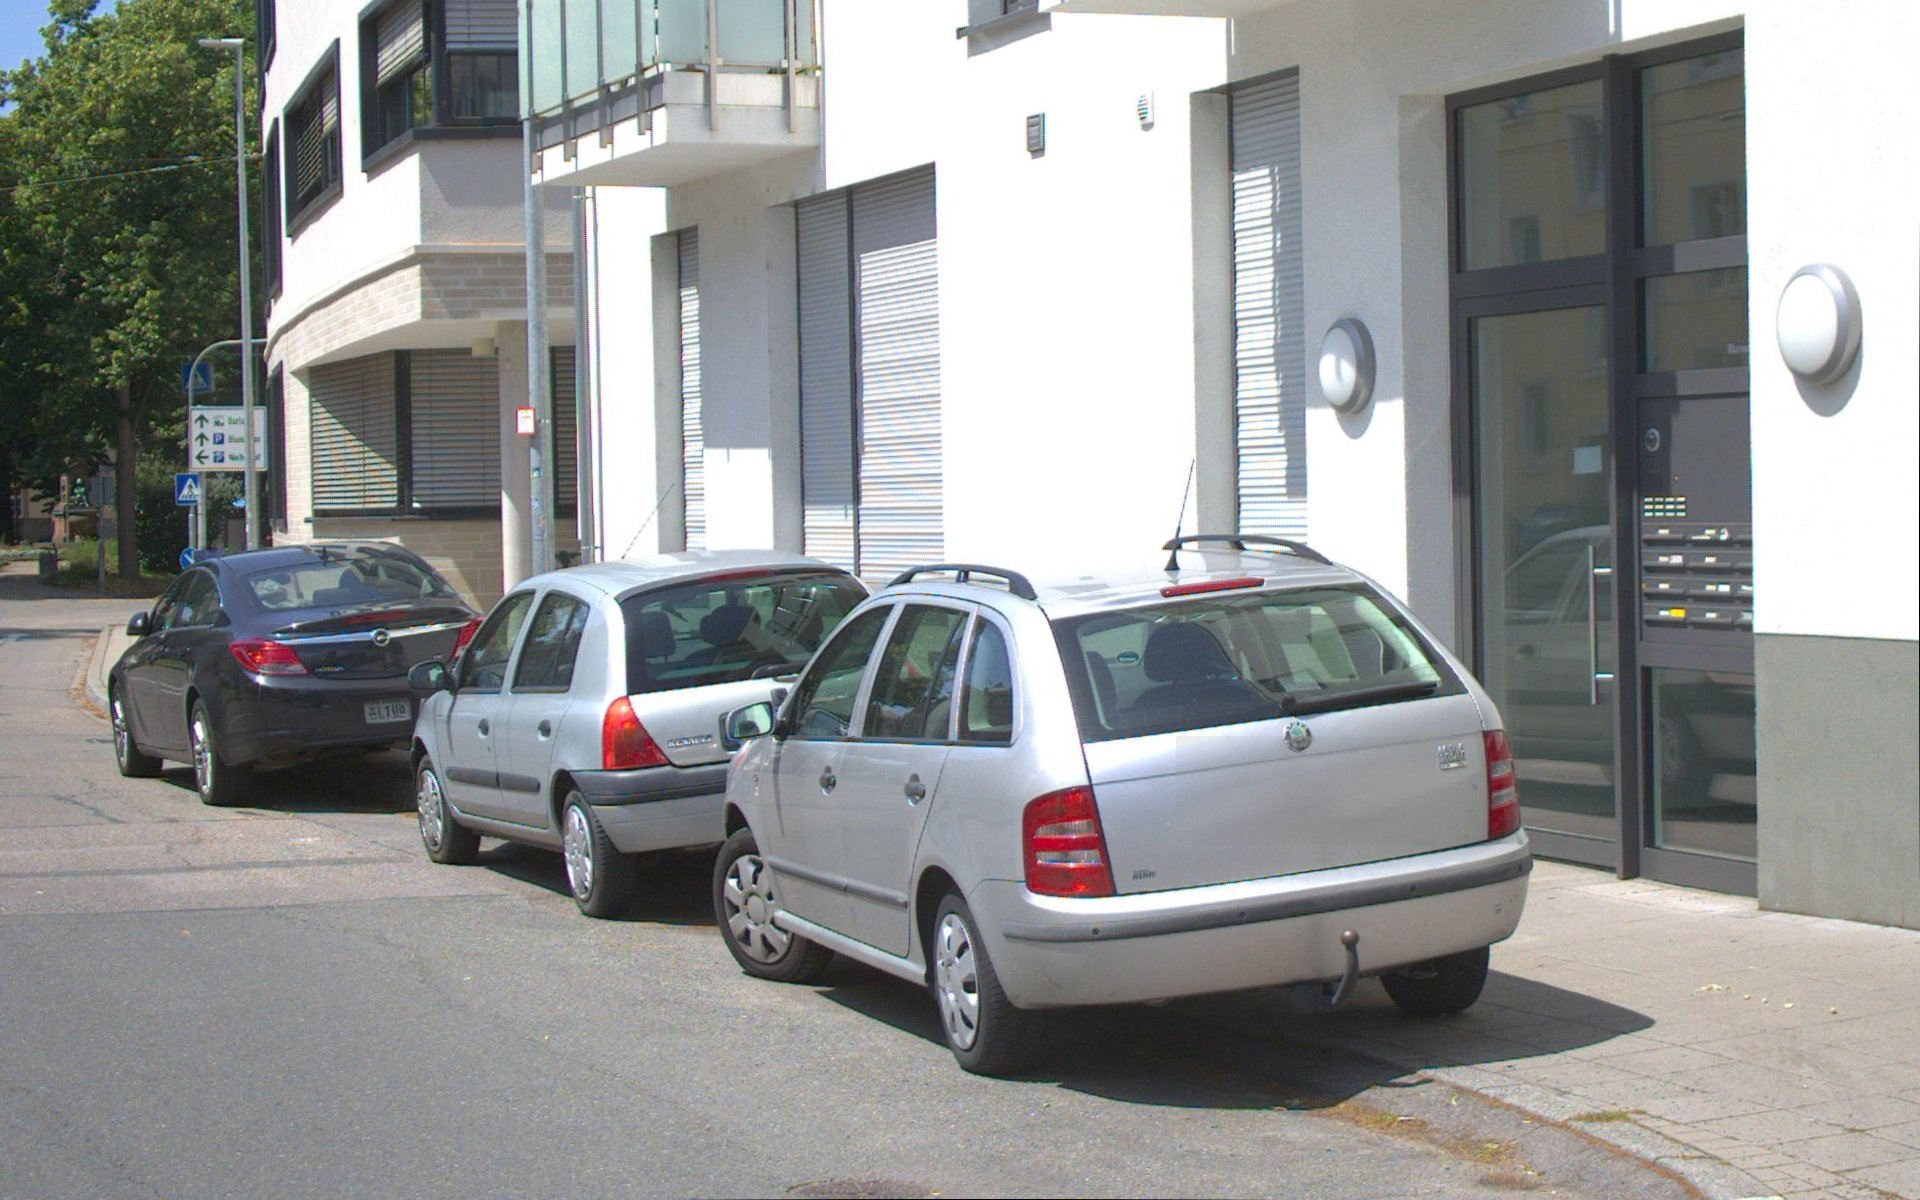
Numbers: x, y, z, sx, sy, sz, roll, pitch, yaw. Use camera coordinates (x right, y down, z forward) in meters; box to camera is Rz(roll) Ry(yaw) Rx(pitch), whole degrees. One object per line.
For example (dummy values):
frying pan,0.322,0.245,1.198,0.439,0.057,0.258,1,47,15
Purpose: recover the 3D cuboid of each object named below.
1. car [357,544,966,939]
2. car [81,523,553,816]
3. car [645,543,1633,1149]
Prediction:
car,-1.471,0.533,15.534,1.592,1.428,3.707,-6,3,-22
car,-4.170,0.365,21.684,1.799,1.504,4.548,-5,3,-24
car,0.344,0.602,11.088,1.726,1.428,4.044,-5,3,-18
